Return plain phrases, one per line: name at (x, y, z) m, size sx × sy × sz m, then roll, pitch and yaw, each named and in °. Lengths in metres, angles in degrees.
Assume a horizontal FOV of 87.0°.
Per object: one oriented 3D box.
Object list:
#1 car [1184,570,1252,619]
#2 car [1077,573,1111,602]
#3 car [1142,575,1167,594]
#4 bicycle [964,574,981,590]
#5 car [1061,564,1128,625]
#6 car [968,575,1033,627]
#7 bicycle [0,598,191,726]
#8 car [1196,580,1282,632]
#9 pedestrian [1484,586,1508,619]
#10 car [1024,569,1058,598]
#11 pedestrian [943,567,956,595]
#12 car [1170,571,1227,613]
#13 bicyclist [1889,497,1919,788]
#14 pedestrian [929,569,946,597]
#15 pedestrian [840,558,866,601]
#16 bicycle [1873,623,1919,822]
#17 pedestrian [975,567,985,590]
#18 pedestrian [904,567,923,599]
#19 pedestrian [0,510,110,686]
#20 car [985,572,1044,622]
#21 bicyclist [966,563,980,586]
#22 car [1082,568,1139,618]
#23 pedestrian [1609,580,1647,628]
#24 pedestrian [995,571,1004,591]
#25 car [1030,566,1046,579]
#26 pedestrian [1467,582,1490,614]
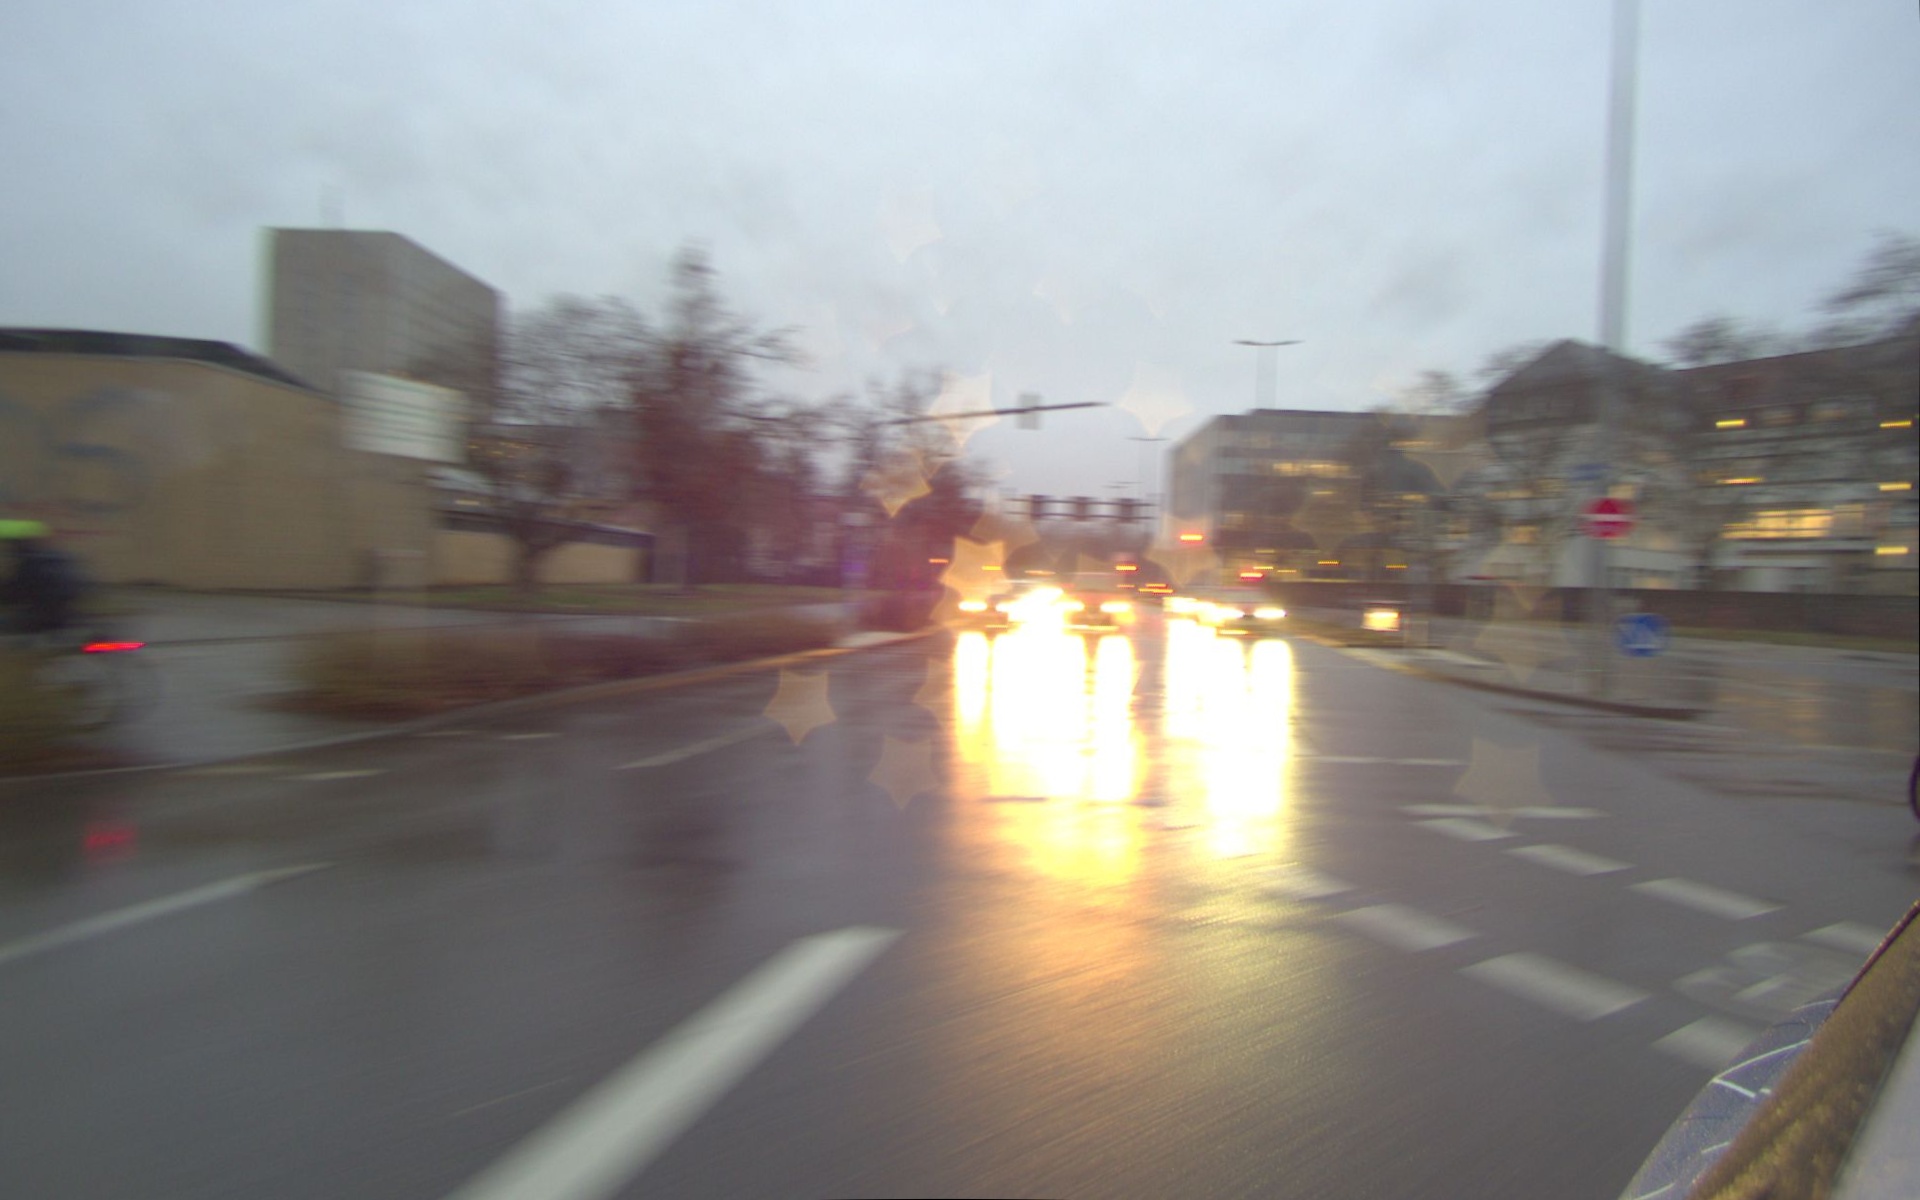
car at (10.239, -0.267, 40.508) m, size 1.966 × 1.771 × 4.464 m, roll 2°, pitch 2°, yaw 7°
car at (8.566, -0.828, 64.775) m, size 1.966 × 1.586 × 4.754 m, roll 4°, pitch 2°, yaw 6°
car at (18.728, -1.493, 97.607) m, size 1.967 × 1.586 × 4.461 m, roll 5°, pitch 1°, yaw 8°
bicycle at (0.820, -1.206, 67.317) m, size 0.781 × 1.028 × 2.898 m, roll 3°, pitch 2°, yaw 7°
car at (4.442, -0.258, 33.760) m, size 1.966 × 1.771 × 4.938 m, roll 3°, pitch 2°, yaw 6°
car at (1.412, -0.035, 33.653) m, size 1.744 × 1.504 × 4.464 m, roll 3°, pitch 2°, yaw 6°
bicycle at (-7.465, 0.483, 8.105) m, size 2.057 × 0.958 × 0.563 m, roll 1°, pitch 2°, yaw -38°
car at (8.795, 0.121, 32.236) m, size 1.899 × 1.393 × 4.491 m, roll 3°, pitch 2°, yaw 7°
pedestrian at (30.682, 0.142, 57.920) m, size 0.794 × 1.853 × 0.947 m, roll 3°, pitch 2°, yaw 3°
car at (5.227, -1.087, 65.182) m, size 1.966 × 1.687 × 3.994 m, roll 3°, pitch 2°, yaw 7°
pedestrian at (-0.760, -1.397, 74.357) m, size 0.752 × 2.038 × 0.909 m, roll 2°, pitch 2°, yaw 6°
car at (10.840, -0.419, 46.312) m, size 1.966 × 1.771 × 4.464 m, roll 2°, pitch 2°, yaw 7°
bicyclist at (6.968, 0.291, 6.437) m, size 1.210 × 1.906 × 1.029 m, roll 1°, pitch 1°, yaw -14°
pedestrian at (-1.529, -1.186, 68.683) m, size 0.917 × 1.848 × 0.833 m, roll 3°, pitch 2°, yaw 7°
pedestrian at (-4.752, -0.926, 44.956) m, size 0.917 × 1.848 × 0.833 m, roll 3°, pitch 2°, yaw 7°
bicycle at (6.965, 0.782, 6.435) m, size 1.864 × 1.238 × 0.796 m, roll 1°, pitch 1°, yaw -14°
pedestrian at (1.764, -1.960, 91.012) m, size 0.752 × 2.038 × 0.772 m, roll 2°, pitch 2°, yaw 6°
pedestrian at (-2.739, -1.009, 59.407) m, size 0.917 × 1.848 × 0.833 m, roll 3°, pitch 2°, yaw 7°
pedestrian at (-7.369, -0.037, 8.087) m, size 0.834 × 1.333 × 0.876 m, roll 1°, pitch 2°, yaw -42°
car at (2.258, -0.161, 40.825) m, size 1.967 × 1.860 × 3.991 m, roll 3°, pitch 2°, yaw 8°
bicyclist at (0.844, -1.702, 67.324) m, size 0.755 × 1.508 × 0.993 m, roll 2°, pitch 2°, yaw 7°
car at (5.845, -0.331, 39.690) m, size 1.966 × 1.771 × 4.464 m, roll 3°, pitch 2°, yaw 7°
pedestrian at (26.661, 0.139, 40.419) m, size 0.794 × 1.853 × 0.947 m, roll 3°, pitch 2°, yaw 3°
pedestrian at (3.671, -1.746, 93.590) m, size 0.613 × 1.822 × 0.935 m, roll 2°, pitch 1°, yaw 9°
car at (11.295, -3.962, 146.216) m, size 2.106 × 1.838 × 3.994 m, roll 3°, pitch 2°, yaw 6°
pedestrian at (30.644, -0.135, 59.829) m, size 0.794 × 1.853 × 0.947 m, roll 3°, pitch 2°, yaw 3°
